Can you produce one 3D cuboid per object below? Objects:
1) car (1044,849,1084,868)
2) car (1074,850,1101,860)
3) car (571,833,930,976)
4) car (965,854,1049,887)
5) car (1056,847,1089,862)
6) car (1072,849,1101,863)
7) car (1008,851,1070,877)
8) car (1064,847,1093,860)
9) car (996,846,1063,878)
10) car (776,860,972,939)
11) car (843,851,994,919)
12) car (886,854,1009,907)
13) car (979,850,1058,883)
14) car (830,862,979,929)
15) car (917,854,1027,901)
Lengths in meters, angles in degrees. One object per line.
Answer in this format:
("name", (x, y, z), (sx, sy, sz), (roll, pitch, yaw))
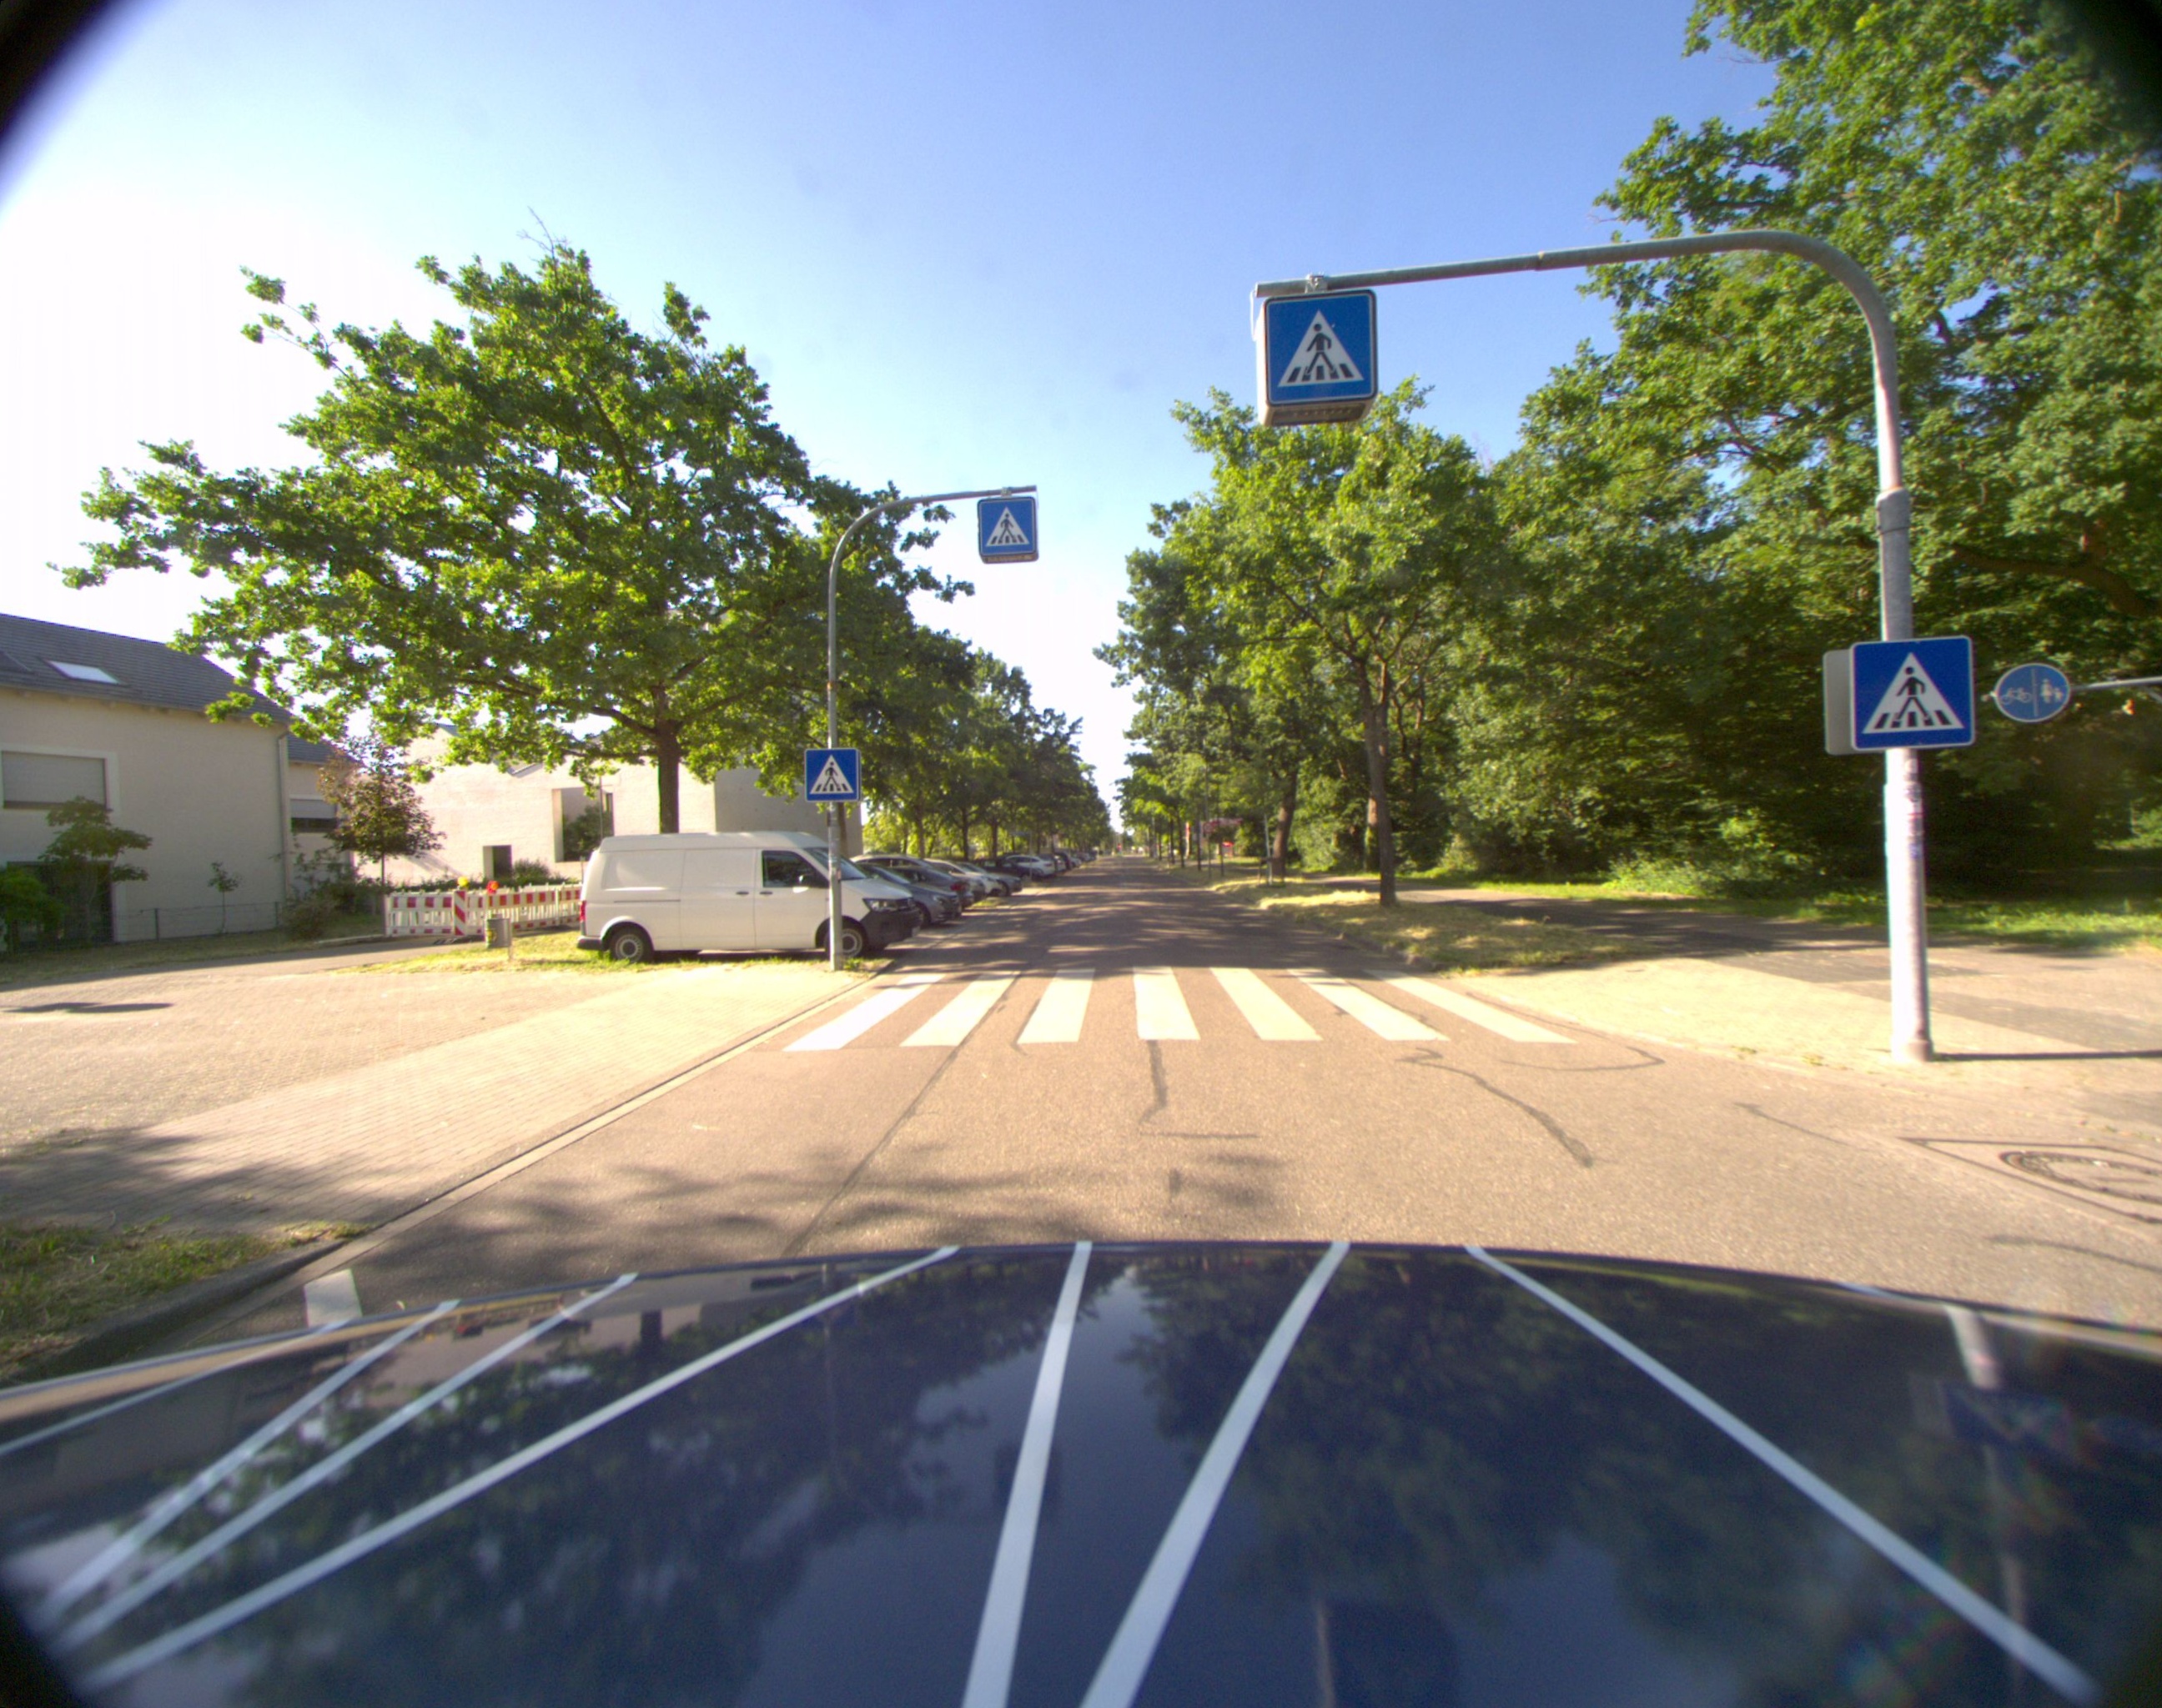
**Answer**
("car", (-1.766, 0.449, 79.315), (3.996, 1.838, 1.863), (-3, 1, 3))
("car", (1.037, 0.202, 121.558), (4.150, 1.401, 1.800), (-3, 0, 3))
("car", (-5.255, 0.776, 12.536), (5.045, 2.069, 1.891), (-1, 1, 2))
("car", (-4.104, 0.903, 42.421), (4.394, 1.632, 1.533), (-3, 1, 5))
("car", (-1.159, 0.055, 100.221), (4.150, 1.838, 1.949), (-3, 0, 3))
("car", (0.839, 0.266, 111.472), (4.150, 1.838, 1.949), (-3, 0, 3))
("car", (-3.102, 0.729, 56.554), (4.394, 1.733, 1.533), (-3, 1, 5))
("car", (-0.362, -0.037, 116.587), (4.150, 1.838, 1.949), (-3, 0, 3))
("car", (-3.552, 0.539, 52.834), (4.394, 1.977, 1.533), (-3, 1, 5))
("car", (-4.741, 1.025, 17.746), (3.995, 1.554, 1.758), (-3, 0, 5))
("car", (-4.784, 0.885, 22.726), (4.018, 1.783, 1.713), (-3, 1, 5))
("car", (-4.758, 0.935, 27.322), (4.018, 1.669, 1.533), (-3, 1, 5))
("car", (-3.706, 0.732, 45.439), (4.394, 1.733, 1.533), (-3, 1, 5))
("car", (-4.628, 1.074, 20.169), (3.515, 1.533, 1.448), (-3, 1, 5))
("car", (-4.294, 0.929, 30.303), (4.018, 1.650, 1.533), (-3, 1, 5))
